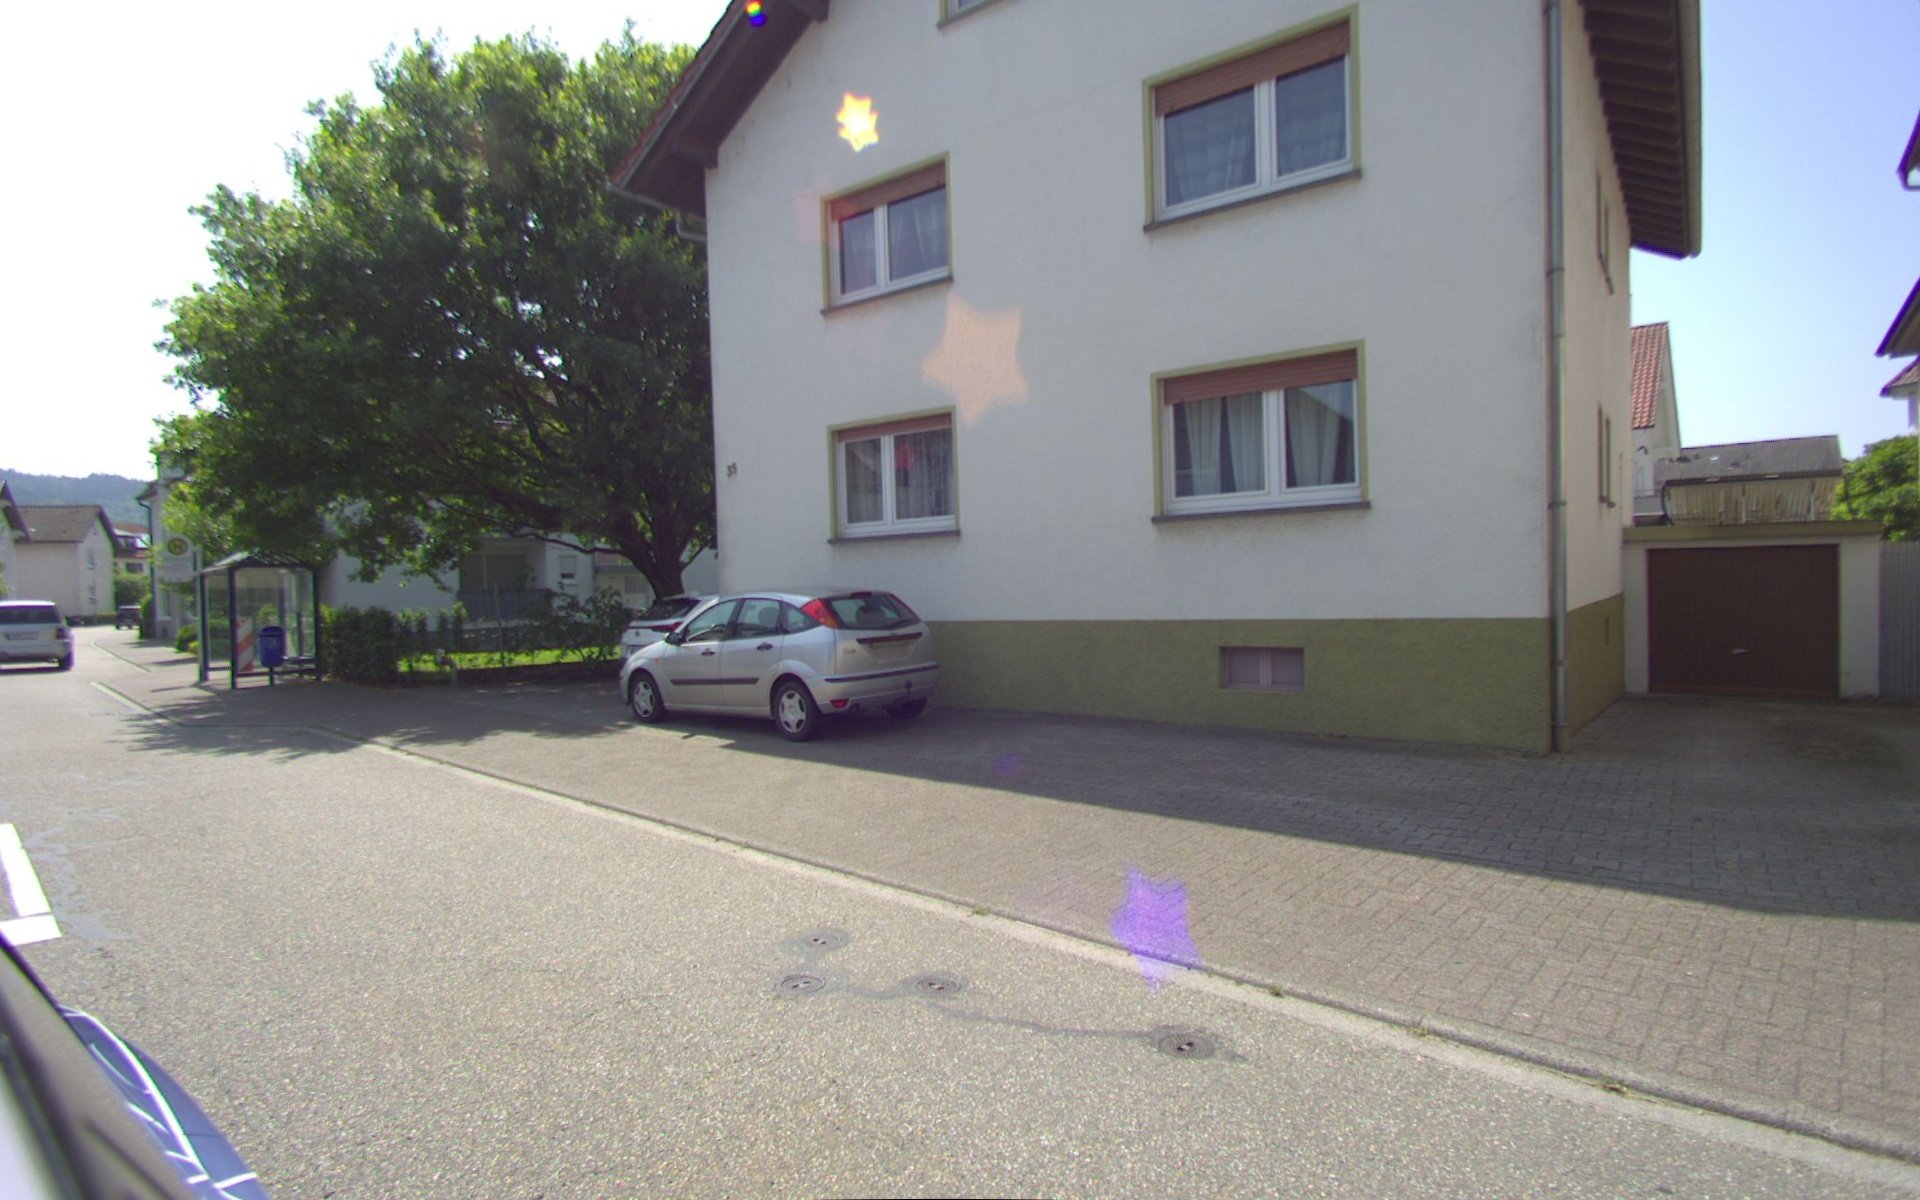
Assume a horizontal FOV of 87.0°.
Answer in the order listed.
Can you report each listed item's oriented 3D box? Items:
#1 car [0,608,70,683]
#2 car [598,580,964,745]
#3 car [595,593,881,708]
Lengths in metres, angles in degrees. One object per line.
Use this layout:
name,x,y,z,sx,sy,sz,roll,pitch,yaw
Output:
car,-24.189,1.107,25.967,1.863,1.780,4.334,0,-1,-44
car,-2.076,0.596,11.060,4.054,1.445,1.760,-2,1,41
car,-3.358,0.711,15.858,1.773,1.550,4.115,-2,-1,42
